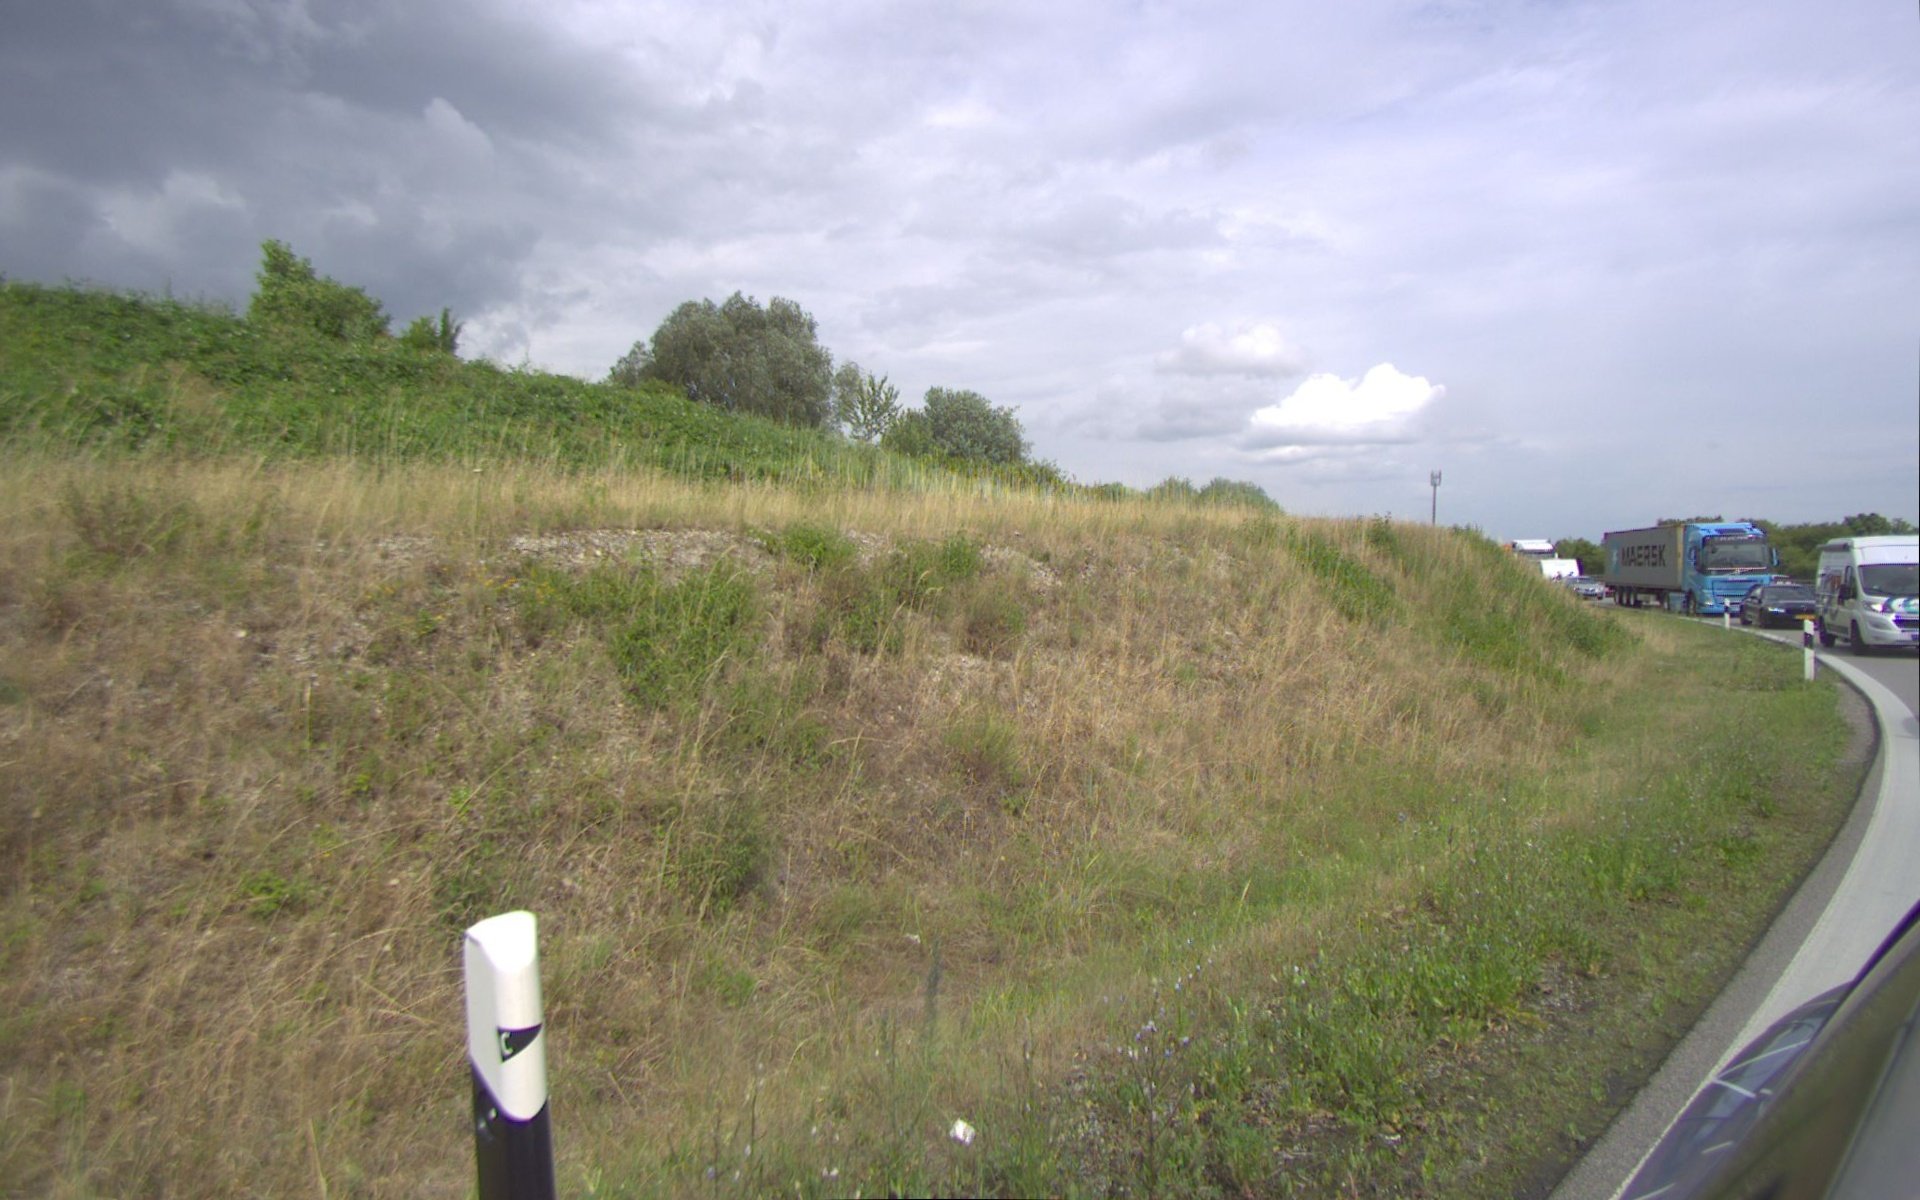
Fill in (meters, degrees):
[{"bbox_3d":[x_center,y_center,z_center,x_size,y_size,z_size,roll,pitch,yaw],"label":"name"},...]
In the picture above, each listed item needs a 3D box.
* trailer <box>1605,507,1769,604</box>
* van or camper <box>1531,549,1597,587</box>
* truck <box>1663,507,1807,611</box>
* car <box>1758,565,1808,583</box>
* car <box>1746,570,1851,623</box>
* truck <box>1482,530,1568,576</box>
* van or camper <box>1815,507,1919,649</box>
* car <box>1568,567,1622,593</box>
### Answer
[{"bbox_3d":[35.568,-2.015,50.181,3.234,4.214,11.943,0,0,19],"label":"trailer"},{"bbox_3d":[40.744,-2.216,68.439,2.519,2.237,5.684,-1,4,17],"label":"van or camper"},{"bbox_3d":[33.211,-1.648,43.704,3.142,4.124,6.600,0,0,21],"label":"truck"},{"bbox_3d":[71.481,-2.276,87.939,1.786,1.504,3.985,0,2,13],"label":"car"},{"bbox_3d":[28.004,-0.176,33.939,1.983,1.638,3.960,1,2,29],"label":"car"},{"bbox_3d":[44.134,-3.581,79.456,3.080,3.279,11.113,0,2,14],"label":"truck"},{"bbox_3d":[21.806,-0.486,23.203,2.379,2.945,5.659,0,0,30],"label":"van or camper"},{"bbox_3d":[39.204,-1.251,62.598,1.974,1.548,3.977,0,2,19],"label":"car"}]
